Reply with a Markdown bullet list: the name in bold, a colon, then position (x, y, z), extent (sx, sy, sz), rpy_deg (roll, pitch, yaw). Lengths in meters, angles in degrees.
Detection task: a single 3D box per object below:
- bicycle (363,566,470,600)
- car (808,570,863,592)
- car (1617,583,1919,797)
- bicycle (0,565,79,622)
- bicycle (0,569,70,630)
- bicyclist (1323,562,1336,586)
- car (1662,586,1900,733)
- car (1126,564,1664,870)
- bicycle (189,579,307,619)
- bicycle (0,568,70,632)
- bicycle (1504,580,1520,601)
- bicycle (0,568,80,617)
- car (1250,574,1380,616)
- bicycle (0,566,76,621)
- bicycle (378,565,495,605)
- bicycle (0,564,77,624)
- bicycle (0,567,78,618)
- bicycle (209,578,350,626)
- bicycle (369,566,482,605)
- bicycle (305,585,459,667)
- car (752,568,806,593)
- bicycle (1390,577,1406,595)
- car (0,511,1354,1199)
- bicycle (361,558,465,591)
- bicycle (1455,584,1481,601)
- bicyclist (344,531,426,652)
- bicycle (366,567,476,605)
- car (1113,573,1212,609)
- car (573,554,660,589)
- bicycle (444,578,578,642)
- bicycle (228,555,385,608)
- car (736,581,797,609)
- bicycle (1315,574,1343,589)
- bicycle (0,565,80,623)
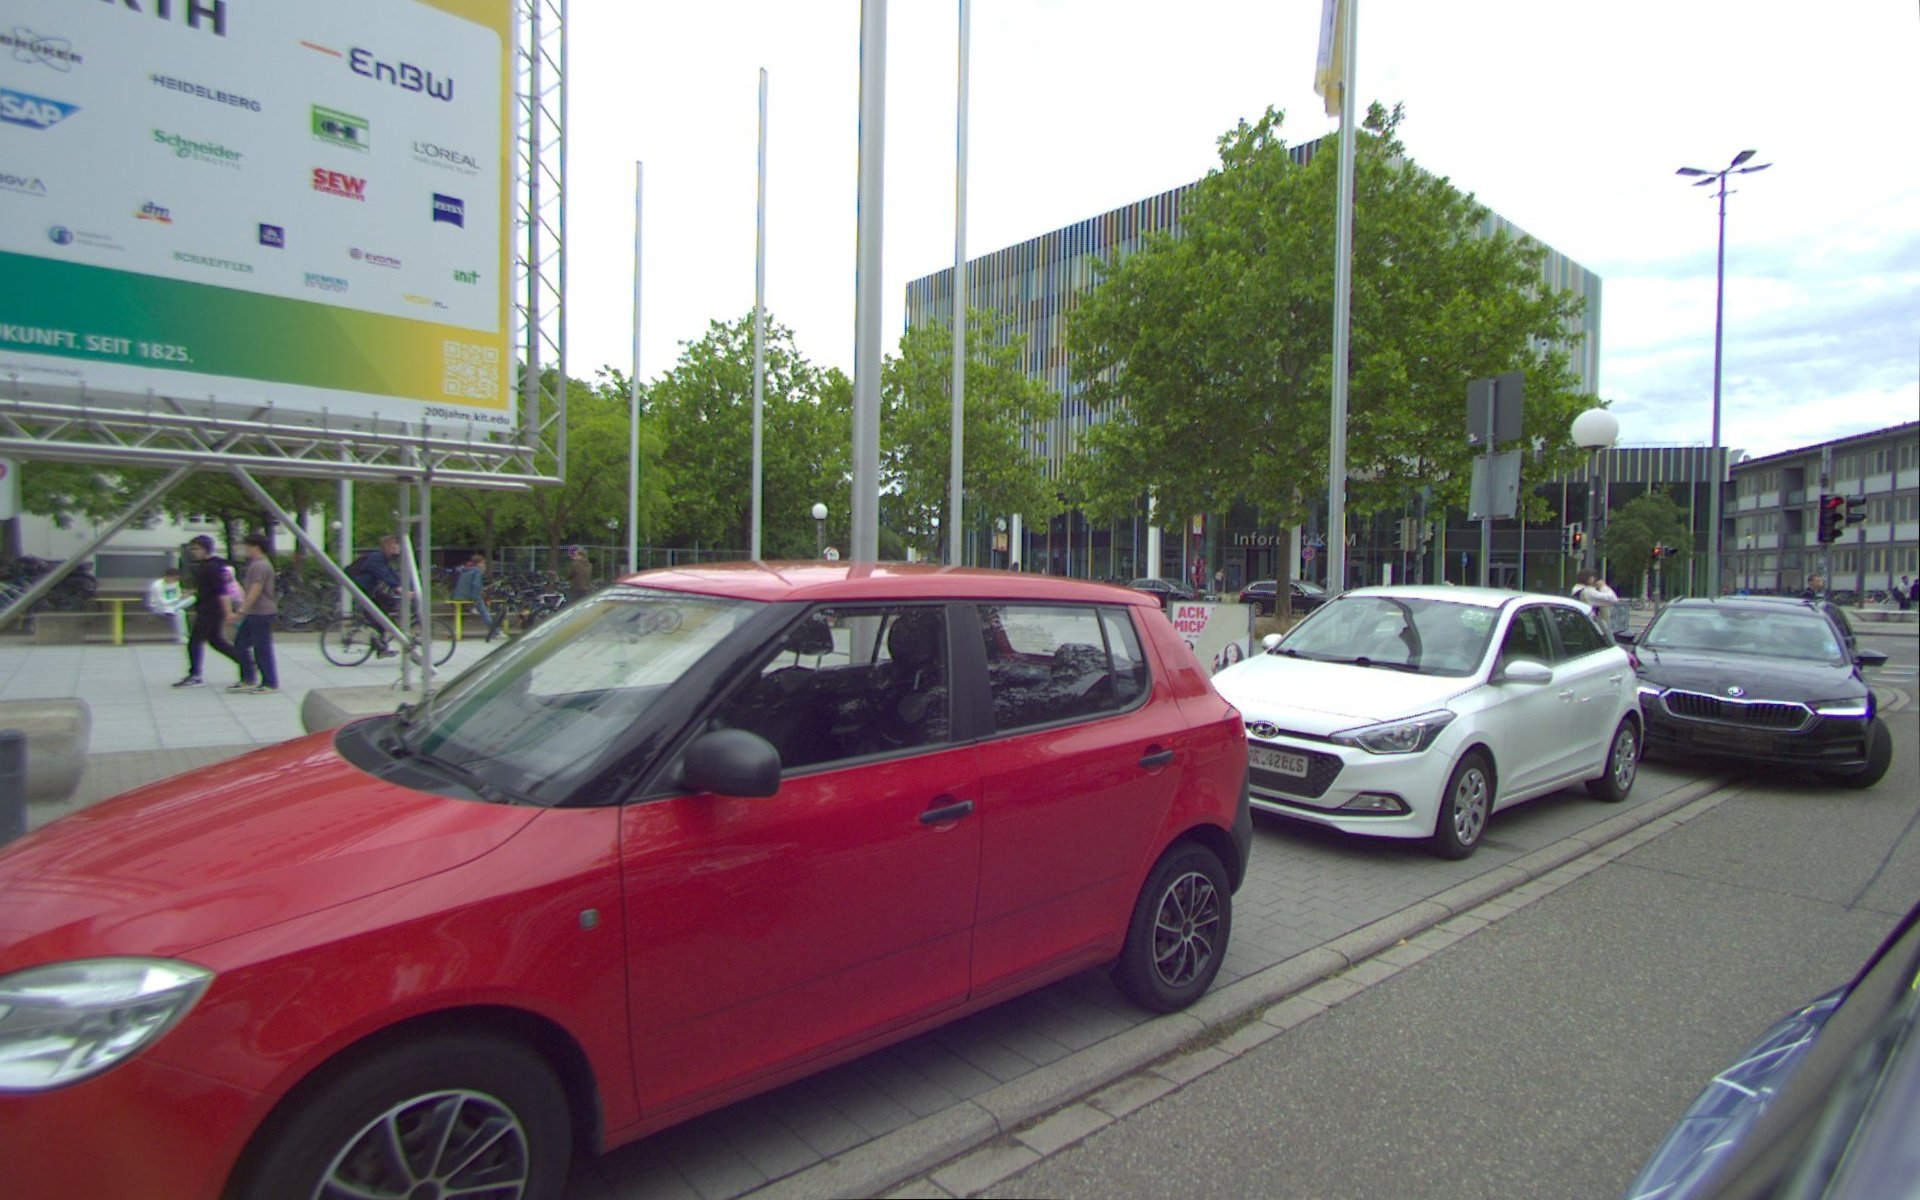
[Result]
- **bicycle**: position (-19.751, -0.649, 36.847), extent (3.330, 1.184, 1.056), rpy_deg (-1, 2, -35)
- **car**: position (-9.285, -1.420, 75.117), extent (1.965, 1.486, 4.221), rpy_deg (2, 0, -41)
- **car**: position (7.435, 0.610, 9.552), extent (1.855, 1.418, 4.422), rpy_deg (5, 3, 35)
- **bicycle**: position (-21.106, -0.166, 21.852), extent (3.051, 1.185, 0.747), rpy_deg (3, -2, -39)
- **bicycle**: position (-19.584, -0.044, 19.906), extent (3.051, 1.185, 0.747), rpy_deg (3, -2, -39)
- **bicyclist**: position (23.325, -1.660, 63.830), extent (0.593, 1.487, 0.485), rpy_deg (0, 1, -23)
- **car**: position (10.774, 0.637, 13.186), extent (4.033, 1.520, 1.626), rpy_deg (-1, 4, -40)
- **car**: position (3.070, 0.526, 6.813), extent (3.791, 1.471, 1.864), rpy_deg (0, 2, -41)
- **bicycle**: position (-23.048, -0.009, 32.827), extent (3.051, 1.185, 0.747), rpy_deg (3, -2, -39)
- **bicycle**: position (-18.621, -0.029, 18.808), extent (3.051, 1.185, 0.621), rpy_deg (3, -2, -39)
- **bicycle**: position (28.351, -0.498, 52.005), extent (0.478, 1.058, 1.772), rpy_deg (1, 2, 20)
- **bicycle**: position (-23.729, -0.206, 24.915), extent (3.052, 1.185, 0.747), rpy_deg (3, -2, -40)
- **car**: position (13.526, -0.228, 38.755), extent (1.965, 1.508, 4.286), rpy_deg (-1, 2, -41)
- **bicycle**: position (-21.652, -0.175, 22.416), extent (3.051, 1.185, 0.747), rpy_deg (3, -2, -39)
- **bicycle**: position (-17.500, -0.470, 33.876), extent (3.329, 1.185, 1.055), rpy_deg (3, -1, -35)
- **bicycle**: position (-20.113, -0.151, 20.662), extent (3.051, 1.185, 0.747), rpy_deg (3, -2, -39)
- **bicycle**: position (-23.252, -0.200, 24.299), extent (3.052, 1.185, 0.747), rpy_deg (3, -2, -40)
- **bicycle**: position (-18.284, 0.065, 27.269), extent (3.051, 1.185, 0.747), rpy_deg (3, -2, -39)
- **bicycle**: position (-18.417, -0.484, 34.933), extent (3.329, 1.185, 1.055), rpy_deg (3, -1, -35)
- **bicycle**: position (-8.221, 0.357, 14.489), extent (1.763, 1.107, 0.878), rpy_deg (1, 1, -19)
- **car**: position (-12.476, -1.369, 69.510), extent (1.963, 1.638, 4.192), rpy_deg (0, 2, -38)
- **bicycle**: position (26.119, -0.836, 60.374), extent (0.476, 1.058, 1.911), rpy_deg (1, 2, 10)
- **car**: position (-0.592, 0.563, 3.339), extent (4.199, 1.491, 1.716), rpy_deg (0, 4, -41)
- **bicycle**: position (-20.383, -0.931, 37.783), extent (3.329, 1.184, 1.056), rpy_deg (0, 1, -35)
- **bicycle**: position (29.774, -0.439, 59.297), extent (0.474, 0.947, 2.011), rpy_deg (0, 2, -1)
- **bicyclist**: position (-8.208, -0.118, 14.481), extent (0.850, 1.661, 0.878), rpy_deg (1, 0, -19)
- **bicycle**: position (-19.115, -0.492, 35.942), extent (3.329, 1.185, 1.055), rpy_deg (3, -1, -35)
- **car**: position (8.927, -0.397, 44.850), extent (1.964, 1.471, 3.997), rpy_deg (-2, 2, -37)
- **car**: position (-18.057, -1.491, 53.334), extent (1.985, 1.774, 4.019), rpy_deg (2, 2, 32)
- **bicycle**: position (-8.755, 0.223, 19.831), extent (0.456, 1.185, 2.374), rpy_deg (0, -2, 45)
- **bicycle**: position (-15.343, -0.441, 23.829), extent (3.052, 1.184, 0.747), rpy_deg (0, 1, -39)
- **car**: position (-11.502, -0.310, 59.857), extent (1.963, 1.530, 3.998), rpy_deg (0, 2, -38)
- **bicycle**: position (23.266, -1.138, 63.802), extent (1.876, 0.937, 0.485), rpy_deg (0, 1, -23)
- **bicycle**: position (-20.581, -0.157, 21.289), extent (3.051, 1.185, 0.747), rpy_deg (3, -2, -39)
